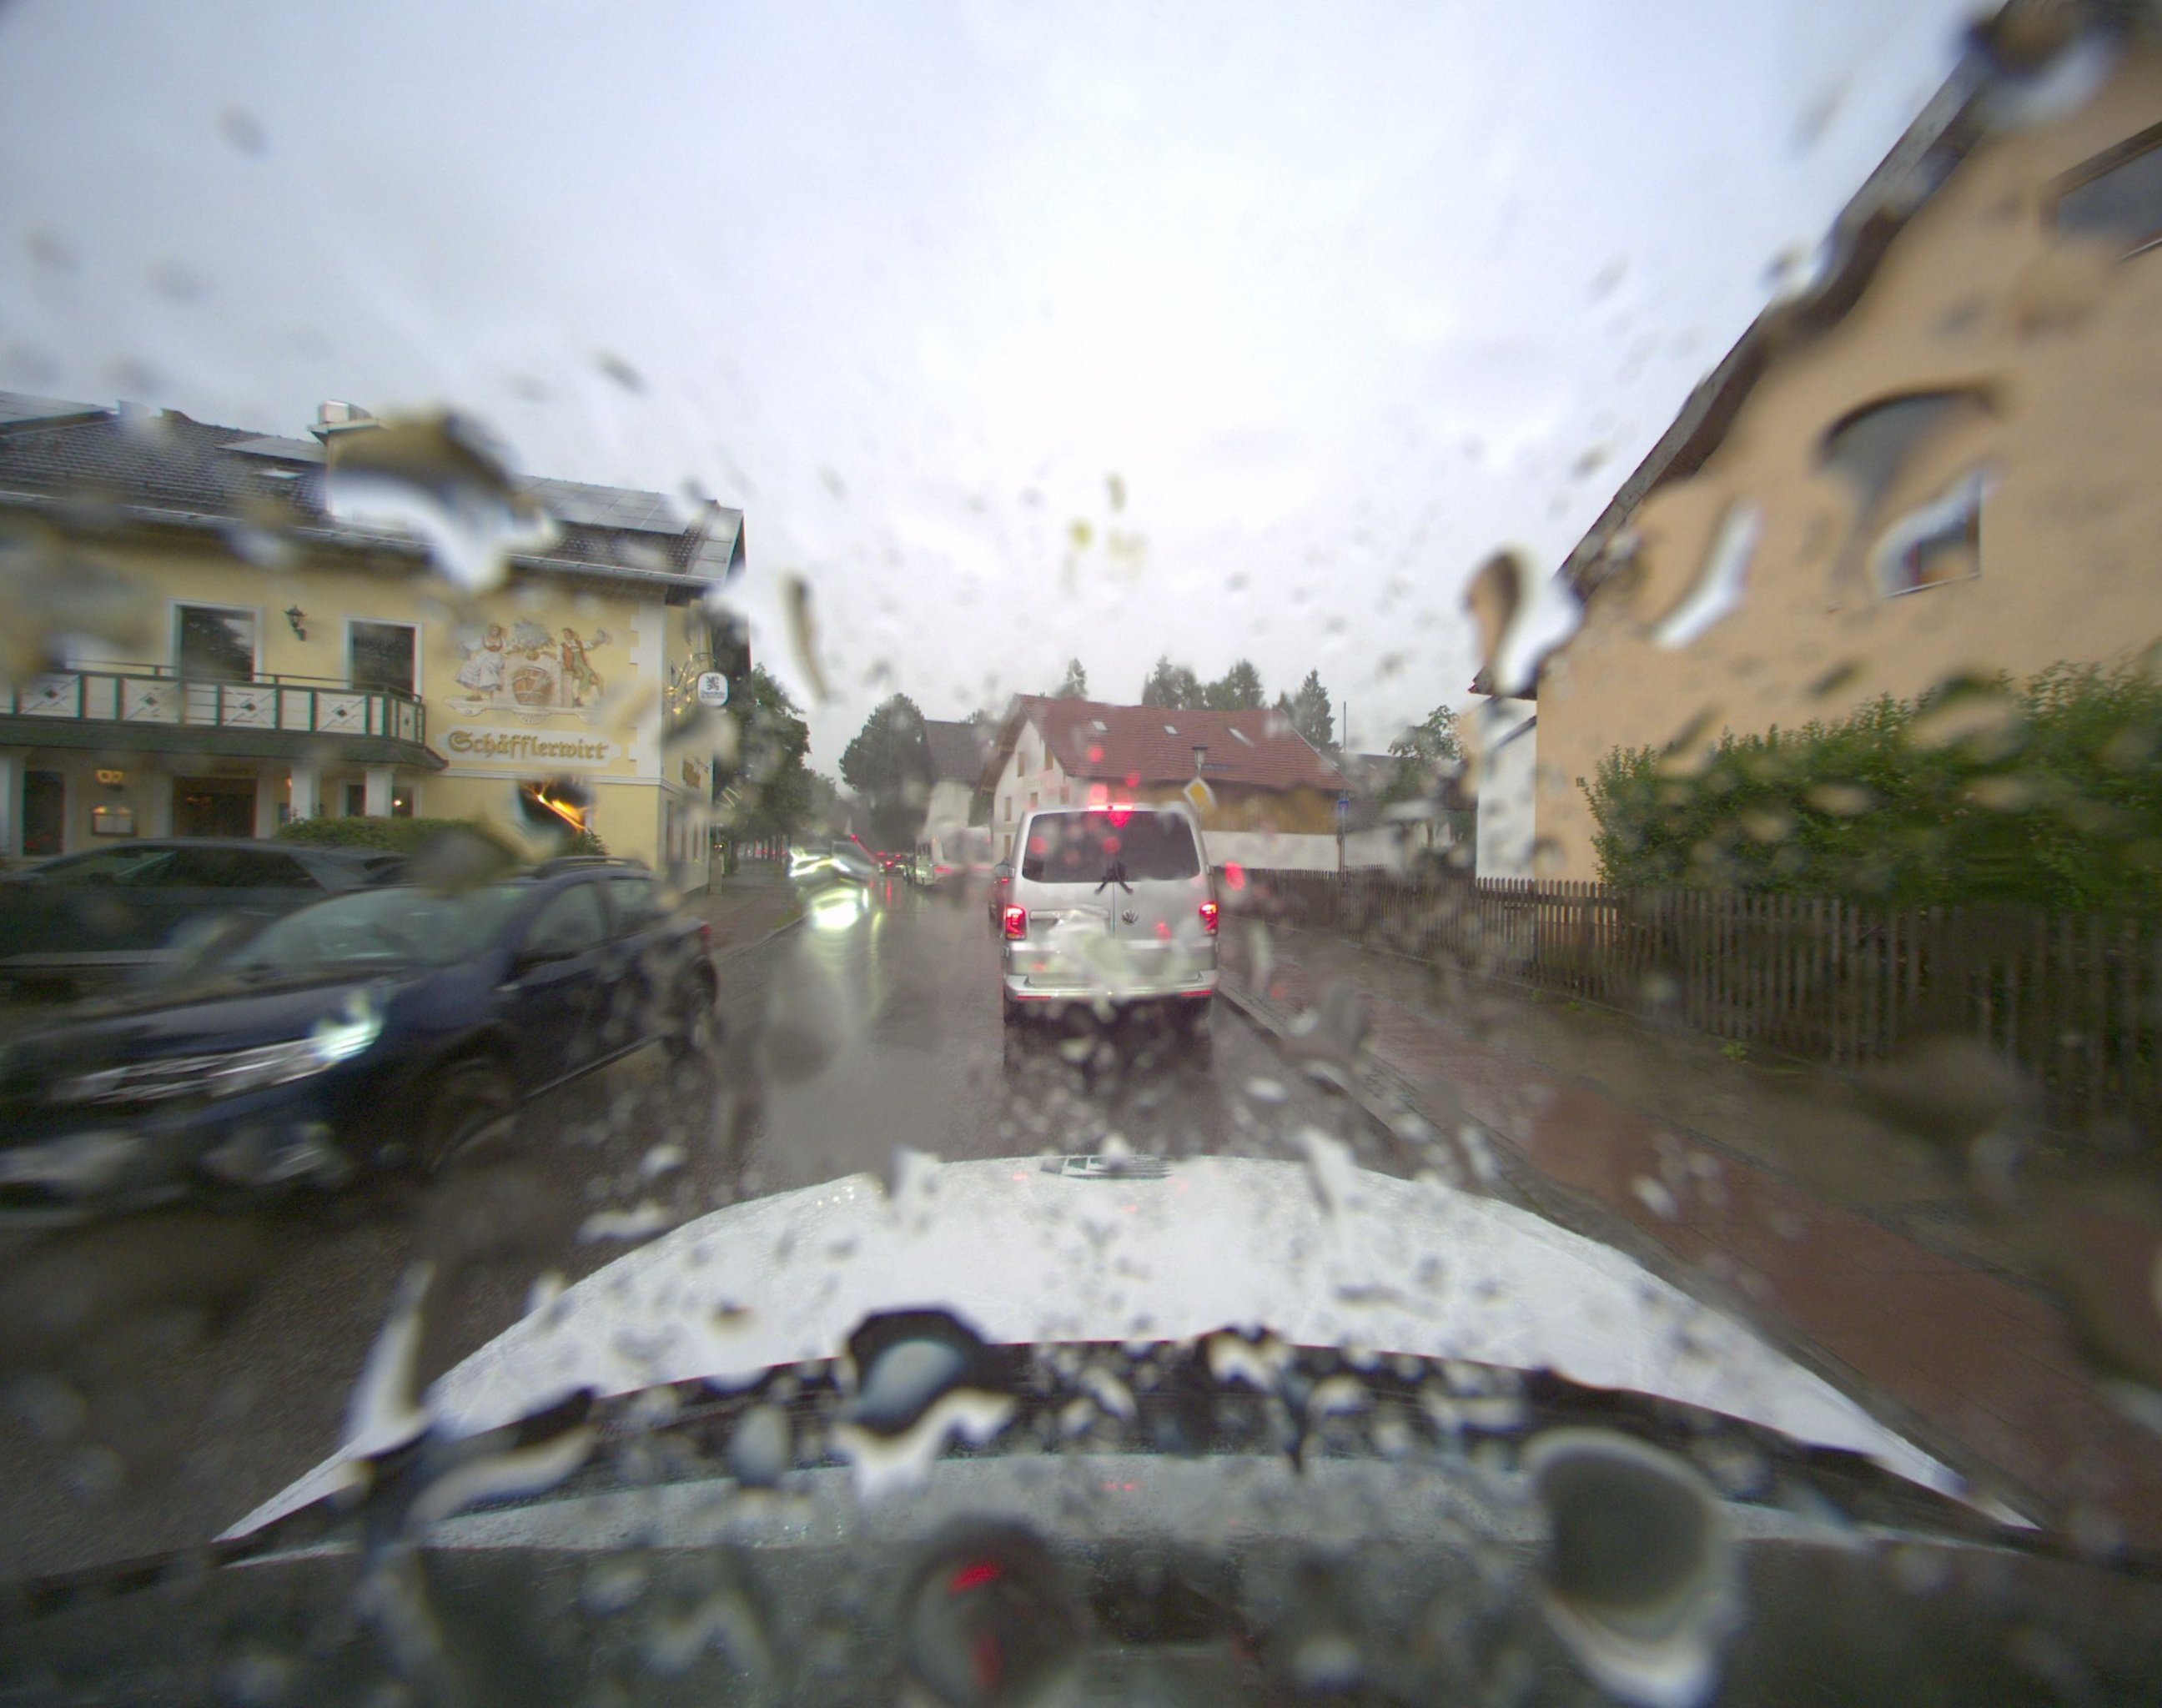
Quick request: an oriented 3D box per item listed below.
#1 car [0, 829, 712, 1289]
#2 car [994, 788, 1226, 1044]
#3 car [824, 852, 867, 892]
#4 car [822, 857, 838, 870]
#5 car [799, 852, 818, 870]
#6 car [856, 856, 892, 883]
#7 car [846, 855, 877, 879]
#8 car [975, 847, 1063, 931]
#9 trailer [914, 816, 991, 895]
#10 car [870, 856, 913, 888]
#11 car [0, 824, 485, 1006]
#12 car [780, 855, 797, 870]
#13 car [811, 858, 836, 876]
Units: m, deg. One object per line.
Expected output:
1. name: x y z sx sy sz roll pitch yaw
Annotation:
1. car: -3.677 0.741 4.667 1.582 1.610 3.535 -1 0 -2
2. car: 0.373 0.493 8.858 1.769 1.963 5.078 -1 0 3
3. car: -12.755 0.950 43.932 1.857 1.971 4.668 -1 -1 -21
4. car: -40.285 1.525 130.720 2.176 1.899 4.981 1 0 -20
5. car: -29.219 0.719 87.323 1.868 1.758 4.455 -3 1 -19
6. car: -16.033 1.158 62.850 2.176 1.899 4.981 1 0 -20
7. car: -19.117 1.110 70.809 2.176 1.899 4.981 1 0 -20
8. car: -1.411 0.672 18.534 1.705 1.584 4.678 -2 1 -5
9. trailer: -5.352 0.052 33.169 2.276 2.904 6.097 0 0 -17
10. car: -12.535 1.137 53.689 2.176 1.899 4.981 1 0 -20
11. car: -9.296 0.612 8.555 4.493 1.567 1.826 4 1 -22
12. car: -37.729 1.093 105.159 1.868 1.758 4.455 -3 1 -19
13. car: -21.563 1.036 68.083 1.868 1.359 4.455 -2 1 -19
